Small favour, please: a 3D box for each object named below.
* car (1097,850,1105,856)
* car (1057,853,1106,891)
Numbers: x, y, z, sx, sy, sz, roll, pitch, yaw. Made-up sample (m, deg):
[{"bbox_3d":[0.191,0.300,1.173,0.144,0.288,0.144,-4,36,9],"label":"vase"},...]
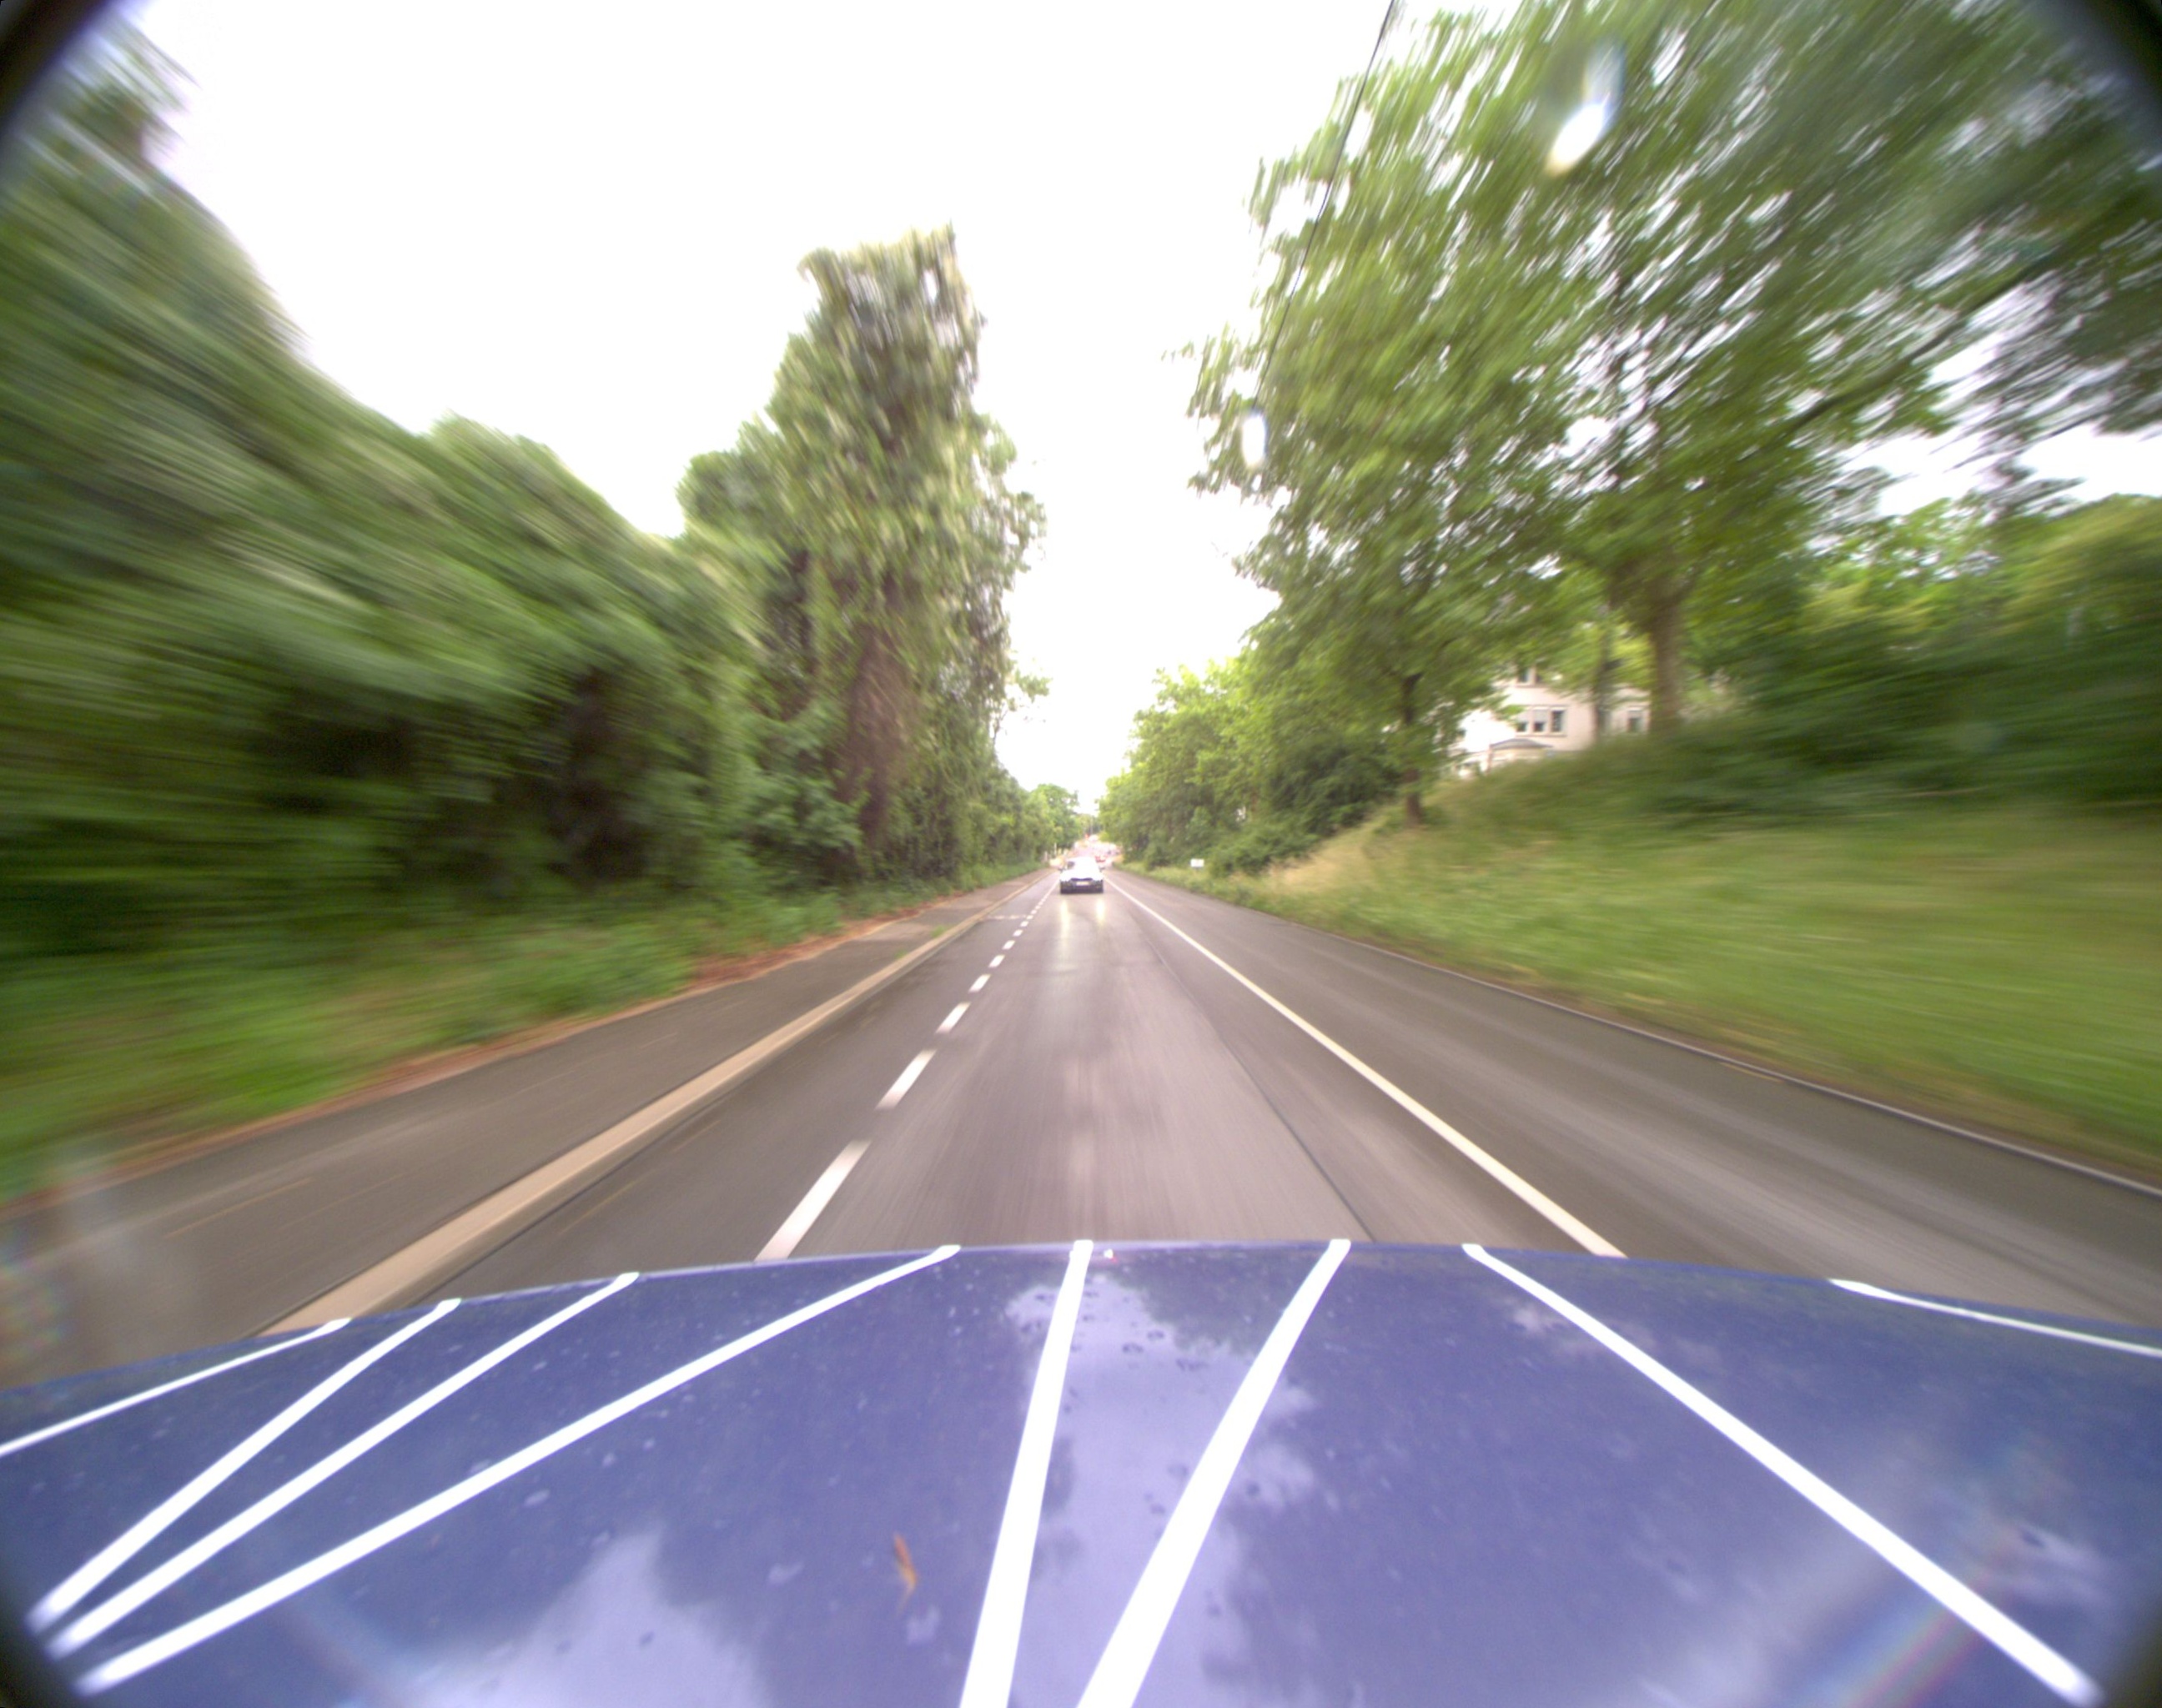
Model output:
[{"bbox_3d":[5.277,-0.173,197.790,1.981,1.497,3.999,-2,1,0],"label":"car"},{"bbox_3d":[-0.002,0.746,33.369,1.981,1.497,3.999,-2,1,0],"label":"car"}]
